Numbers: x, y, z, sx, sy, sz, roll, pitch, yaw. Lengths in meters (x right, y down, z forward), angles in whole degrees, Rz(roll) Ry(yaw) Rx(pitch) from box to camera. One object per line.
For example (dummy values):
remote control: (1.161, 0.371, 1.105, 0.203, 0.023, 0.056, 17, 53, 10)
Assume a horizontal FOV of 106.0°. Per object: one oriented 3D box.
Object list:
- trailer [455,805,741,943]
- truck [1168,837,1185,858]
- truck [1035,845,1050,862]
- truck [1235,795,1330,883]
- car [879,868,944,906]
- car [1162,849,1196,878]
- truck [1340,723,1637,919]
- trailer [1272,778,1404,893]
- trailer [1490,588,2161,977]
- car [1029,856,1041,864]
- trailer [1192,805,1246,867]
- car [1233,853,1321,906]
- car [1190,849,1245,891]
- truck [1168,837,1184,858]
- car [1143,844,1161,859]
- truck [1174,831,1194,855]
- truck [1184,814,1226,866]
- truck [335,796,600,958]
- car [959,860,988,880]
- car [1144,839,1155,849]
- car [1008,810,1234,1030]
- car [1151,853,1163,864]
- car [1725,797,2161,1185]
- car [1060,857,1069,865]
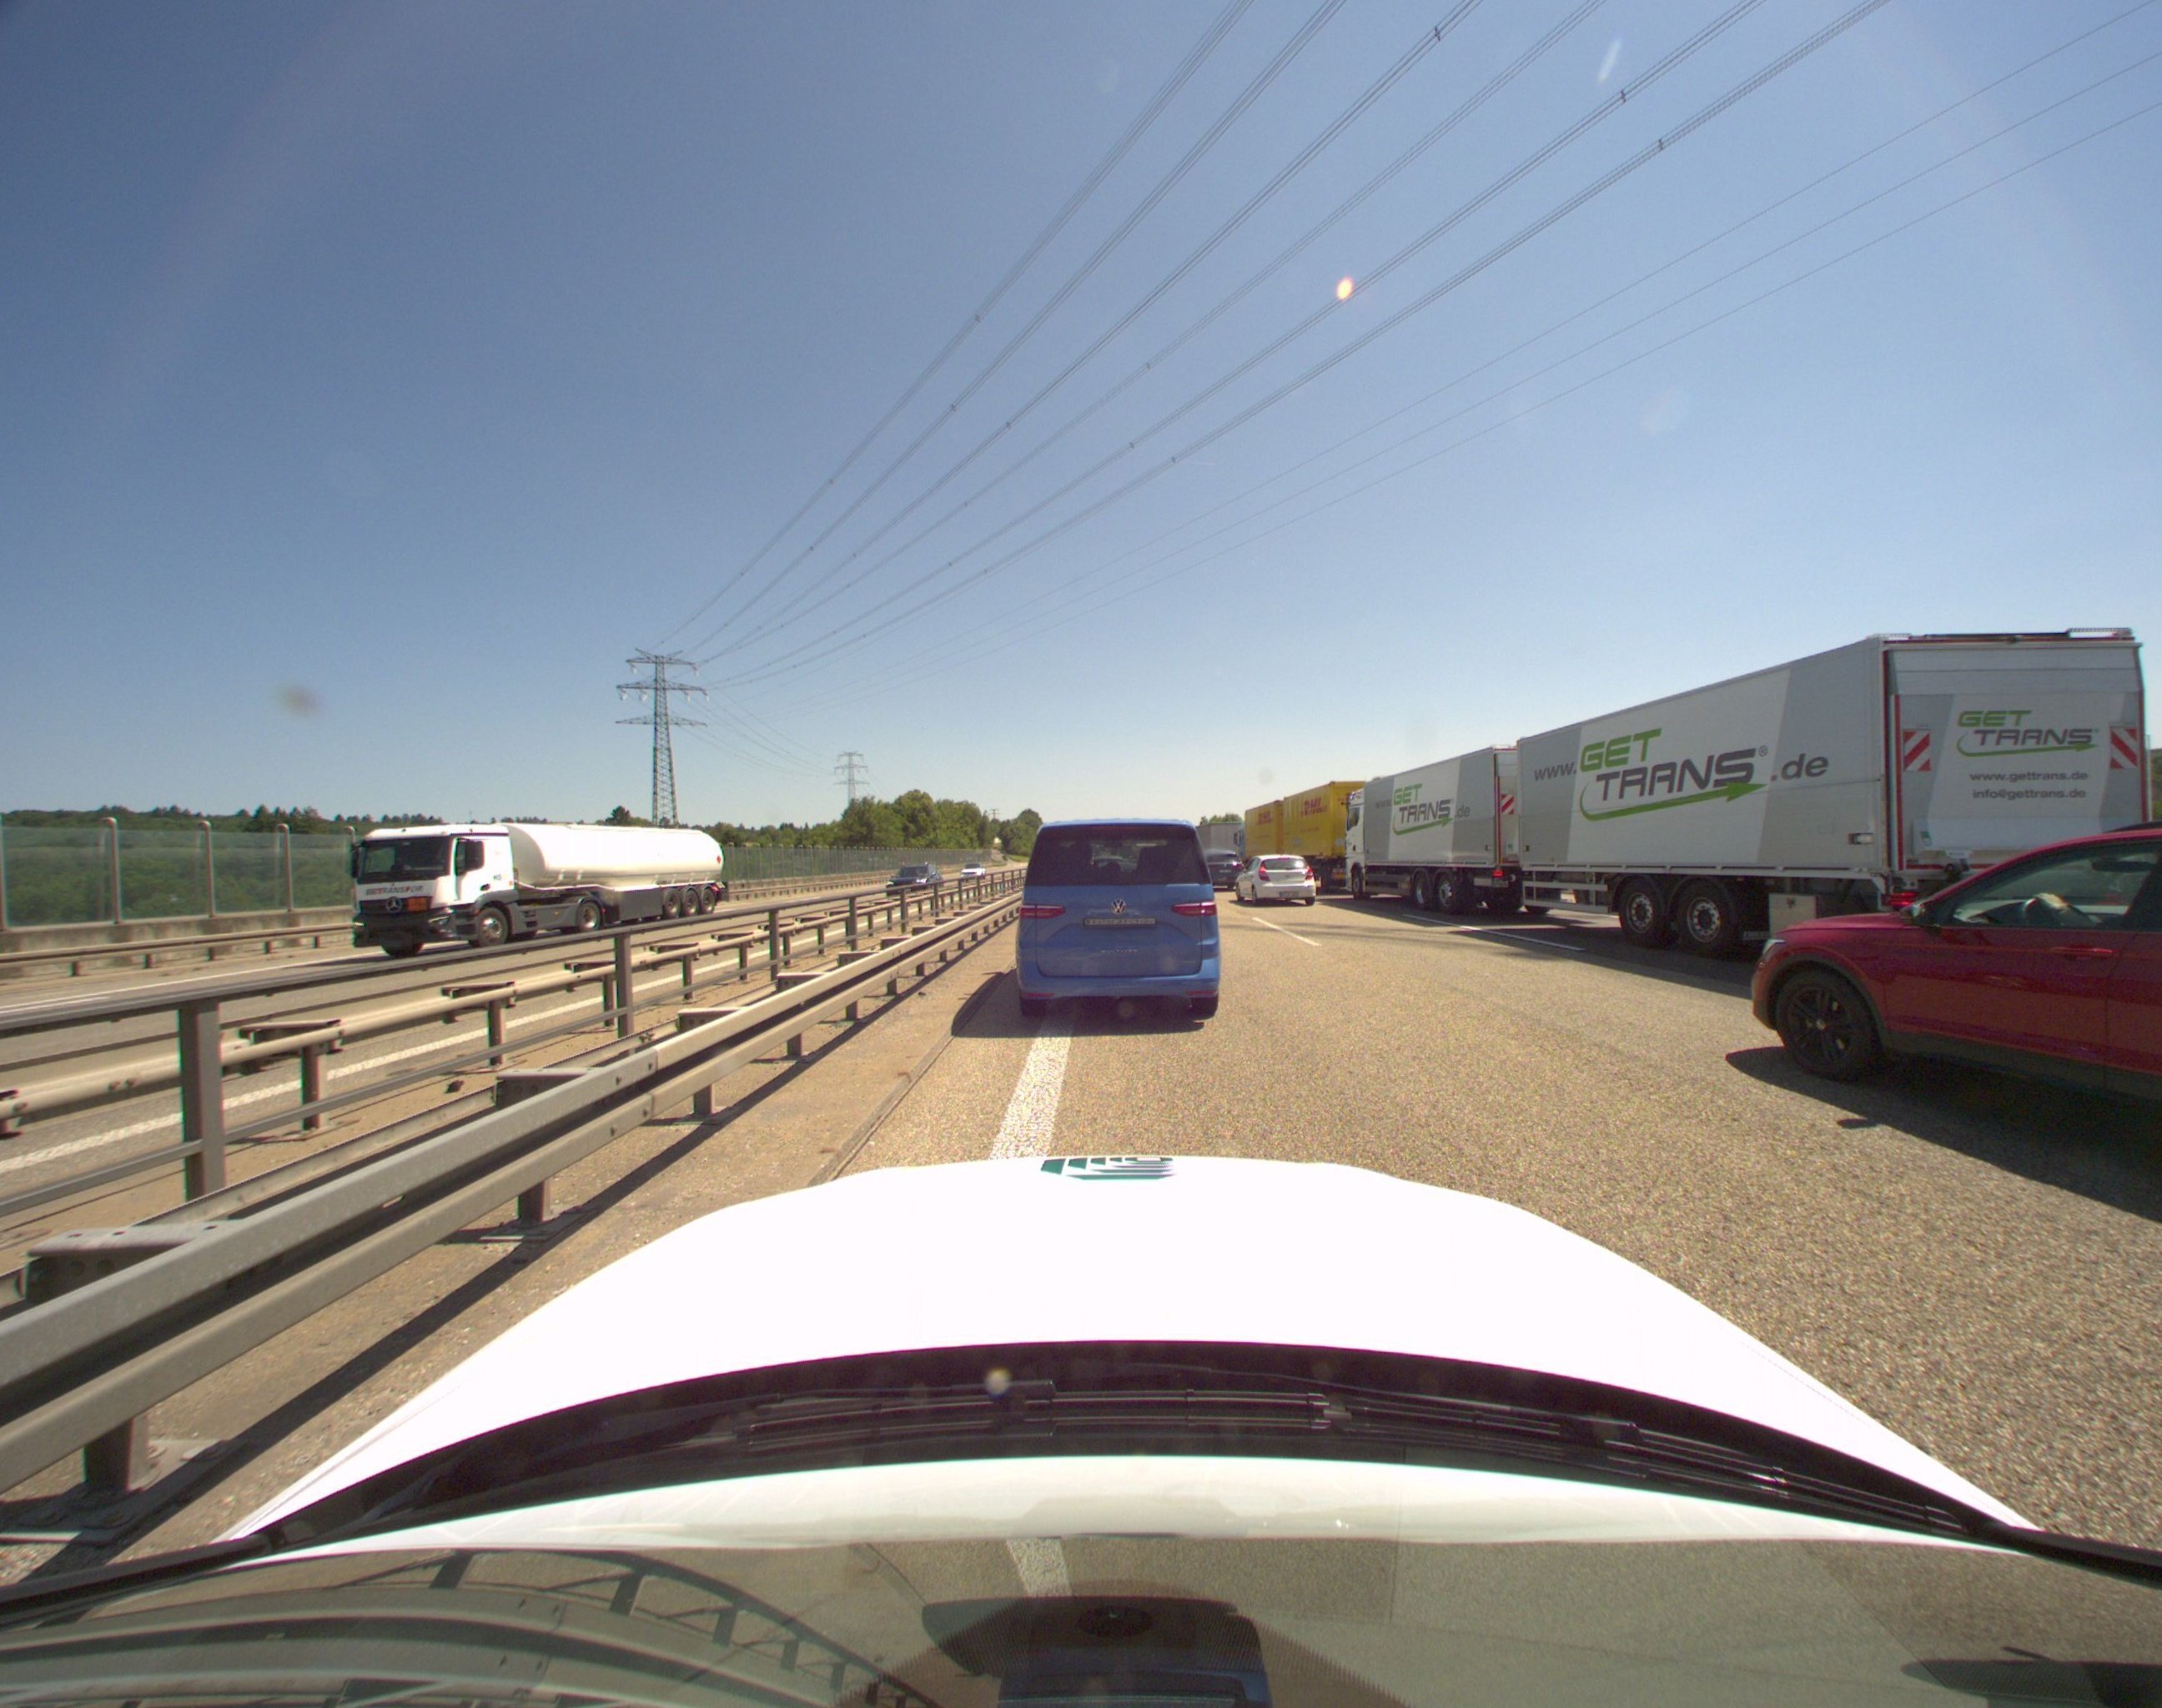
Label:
trailer: (-15.106, 0.606, 27.050, 2.489, 3.540, 10.909, -3, -1, 2)
truck: (11.584, -0.752, 99.192, 1.735, 2.549, 4.212, 0, -1, 2)
truck: (-10.399, -0.026, 219.520, 2.917, 4.293, 6.862, -4, -1, 3)
truck: (10.343, -0.637, 42.931, 2.690, 4.088, 9.940, 0, -1, 1)
car: (-7.251, 1.376, 35.184, 1.875, 1.552, 4.189, 0, -1, 0)
car: (6.722, 0.640, 56.090, 1.955, 1.936, 3.933, 0, -1, 2)
truck: (9.889, -0.606, 21.695, 2.841, 3.934, 10.613, 0, -1, 2)
trailer: (10.213, -0.599, 33.503, 2.673, 4.088, 8.980, 0, -1, 1)
trailer: (9.591, -0.670, 12.265, 2.888, 3.891, 8.216, 0, -1, 2)
car: (-8.588, 1.118, 151.935, 1.865, 1.442, 4.386, -3, -1, 1)
trailer: (11.096, -1.277, 66.595, 3.014, 4.611, 10.930, 0, -1, 2)
car: (5.870, 0.746, 24.881, 1.809, 1.470, 3.932, 0, -1, 1)
car: (5.751, 0.685, 34.697, 1.808, 1.679, 3.934, 0, -1, 2)
truck: (12.157, -0.821, 104.379, 1.790, 2.596, 4.307, 0, -1, 2)
car: (8.579, -0.300, 98.213, 1.912, 1.706, 4.001, 0, -1, 2)
truck: (11.383, -1.196, 90.384, 1.791, 2.449, 4.506, 0, -1, 2)
truck: (11.509, -1.161, 76.024, 3.014, 4.611, 7.925, 0, -1, 2)
truck: (-15.385, 0.549, 20.996, 2.510, 3.535, 5.333, -3, -1, 2)
car: (-9.233, 1.363, 70.162, 1.800, 1.640, 4.000, -4, -1, 1)
car: (12.650, -1.921, 150.790, 1.790, 1.751, 3.945, 0, -1, 2)
car: (0.409, 0.588, 8.973, 1.923, 1.874, 4.001, 0, -1, 2)
car: (12.615, 0.739, 135.084, 1.790, 1.751, 3.945, 0, -1, 2)
car: (5.541, 0.597, 3.889, 1.701, 1.679, 4.288, 0, -1, 3)
car: (-3.791, 1.605, 189.183, 1.865, 1.530, 3.609, -7, -1, 1)
